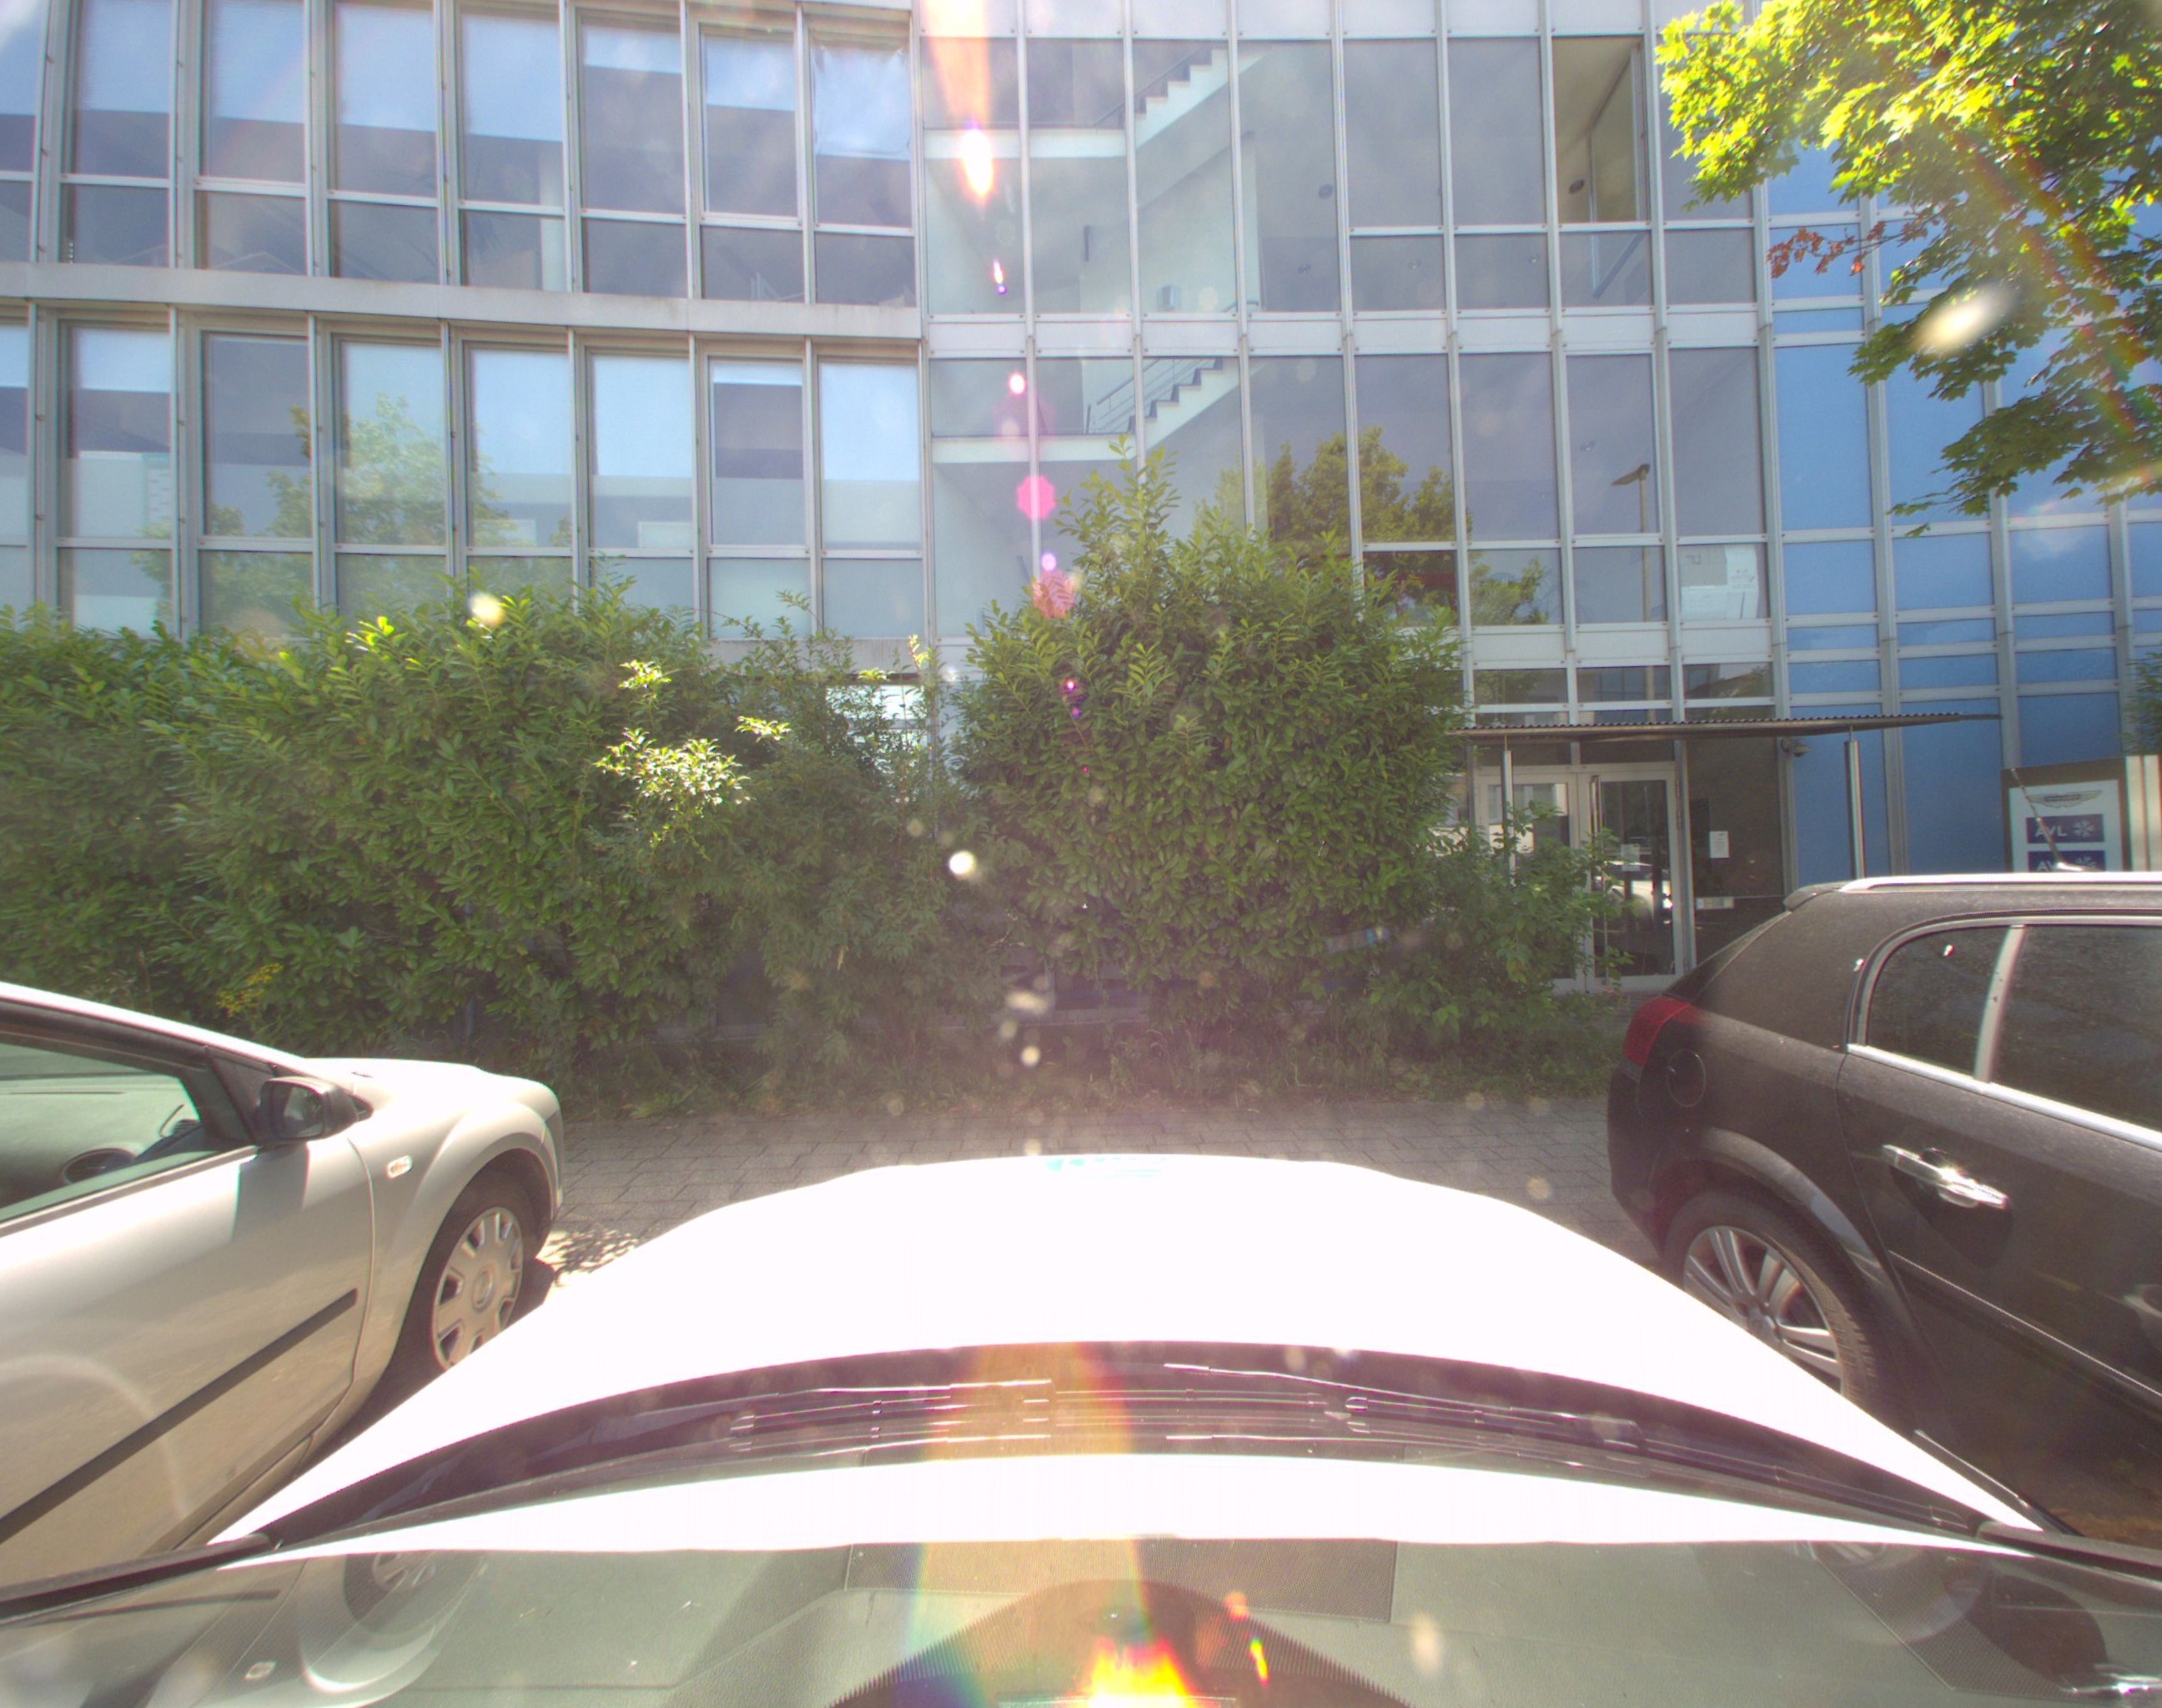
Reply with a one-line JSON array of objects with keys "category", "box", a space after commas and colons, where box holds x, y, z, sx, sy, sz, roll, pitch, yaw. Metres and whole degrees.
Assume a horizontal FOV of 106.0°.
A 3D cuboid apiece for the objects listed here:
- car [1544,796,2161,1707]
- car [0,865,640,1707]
[{"category": "car", "box": [2.504, 0.676, 0.605, 1.752, 1.549, 4.565, -1, 0, 0]}, {"category": "car", "box": [-2.375, 0.778, 0.856, 1.716, 1.479, 4.342, -1, 0, -4]}]
